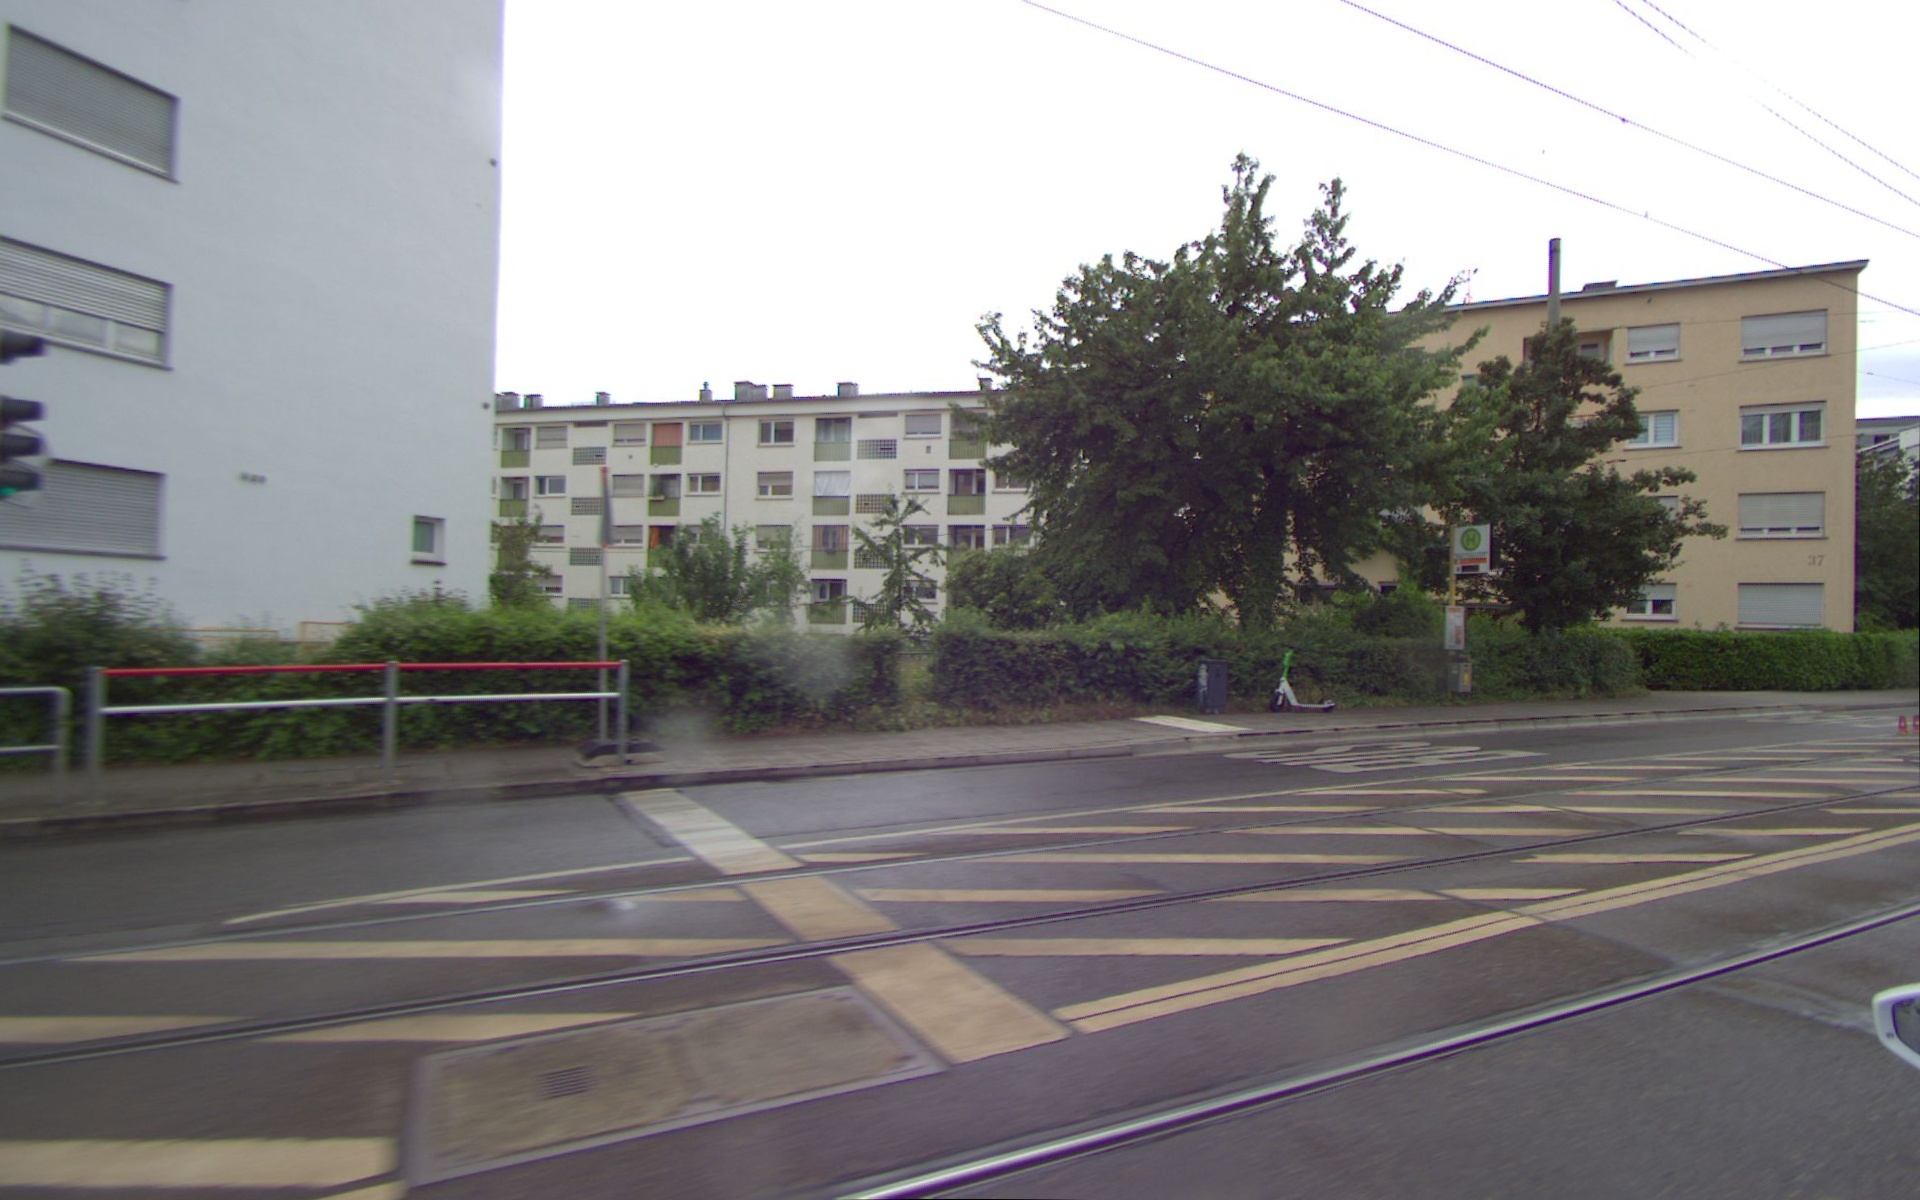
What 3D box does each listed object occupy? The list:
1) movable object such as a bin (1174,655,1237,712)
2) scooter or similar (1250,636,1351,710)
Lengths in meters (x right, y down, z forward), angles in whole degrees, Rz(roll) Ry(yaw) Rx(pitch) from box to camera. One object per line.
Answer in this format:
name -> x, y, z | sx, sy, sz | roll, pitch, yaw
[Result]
movable object such as a bin -> 4.117, 1.387, 16.829 | 0.753, 0.893, 0.682 | 3, -1, -34
scooter or similar -> 5.869, 1.260, 17.339 | 1.573, 1.200, 0.572 | 3, -1, -16
